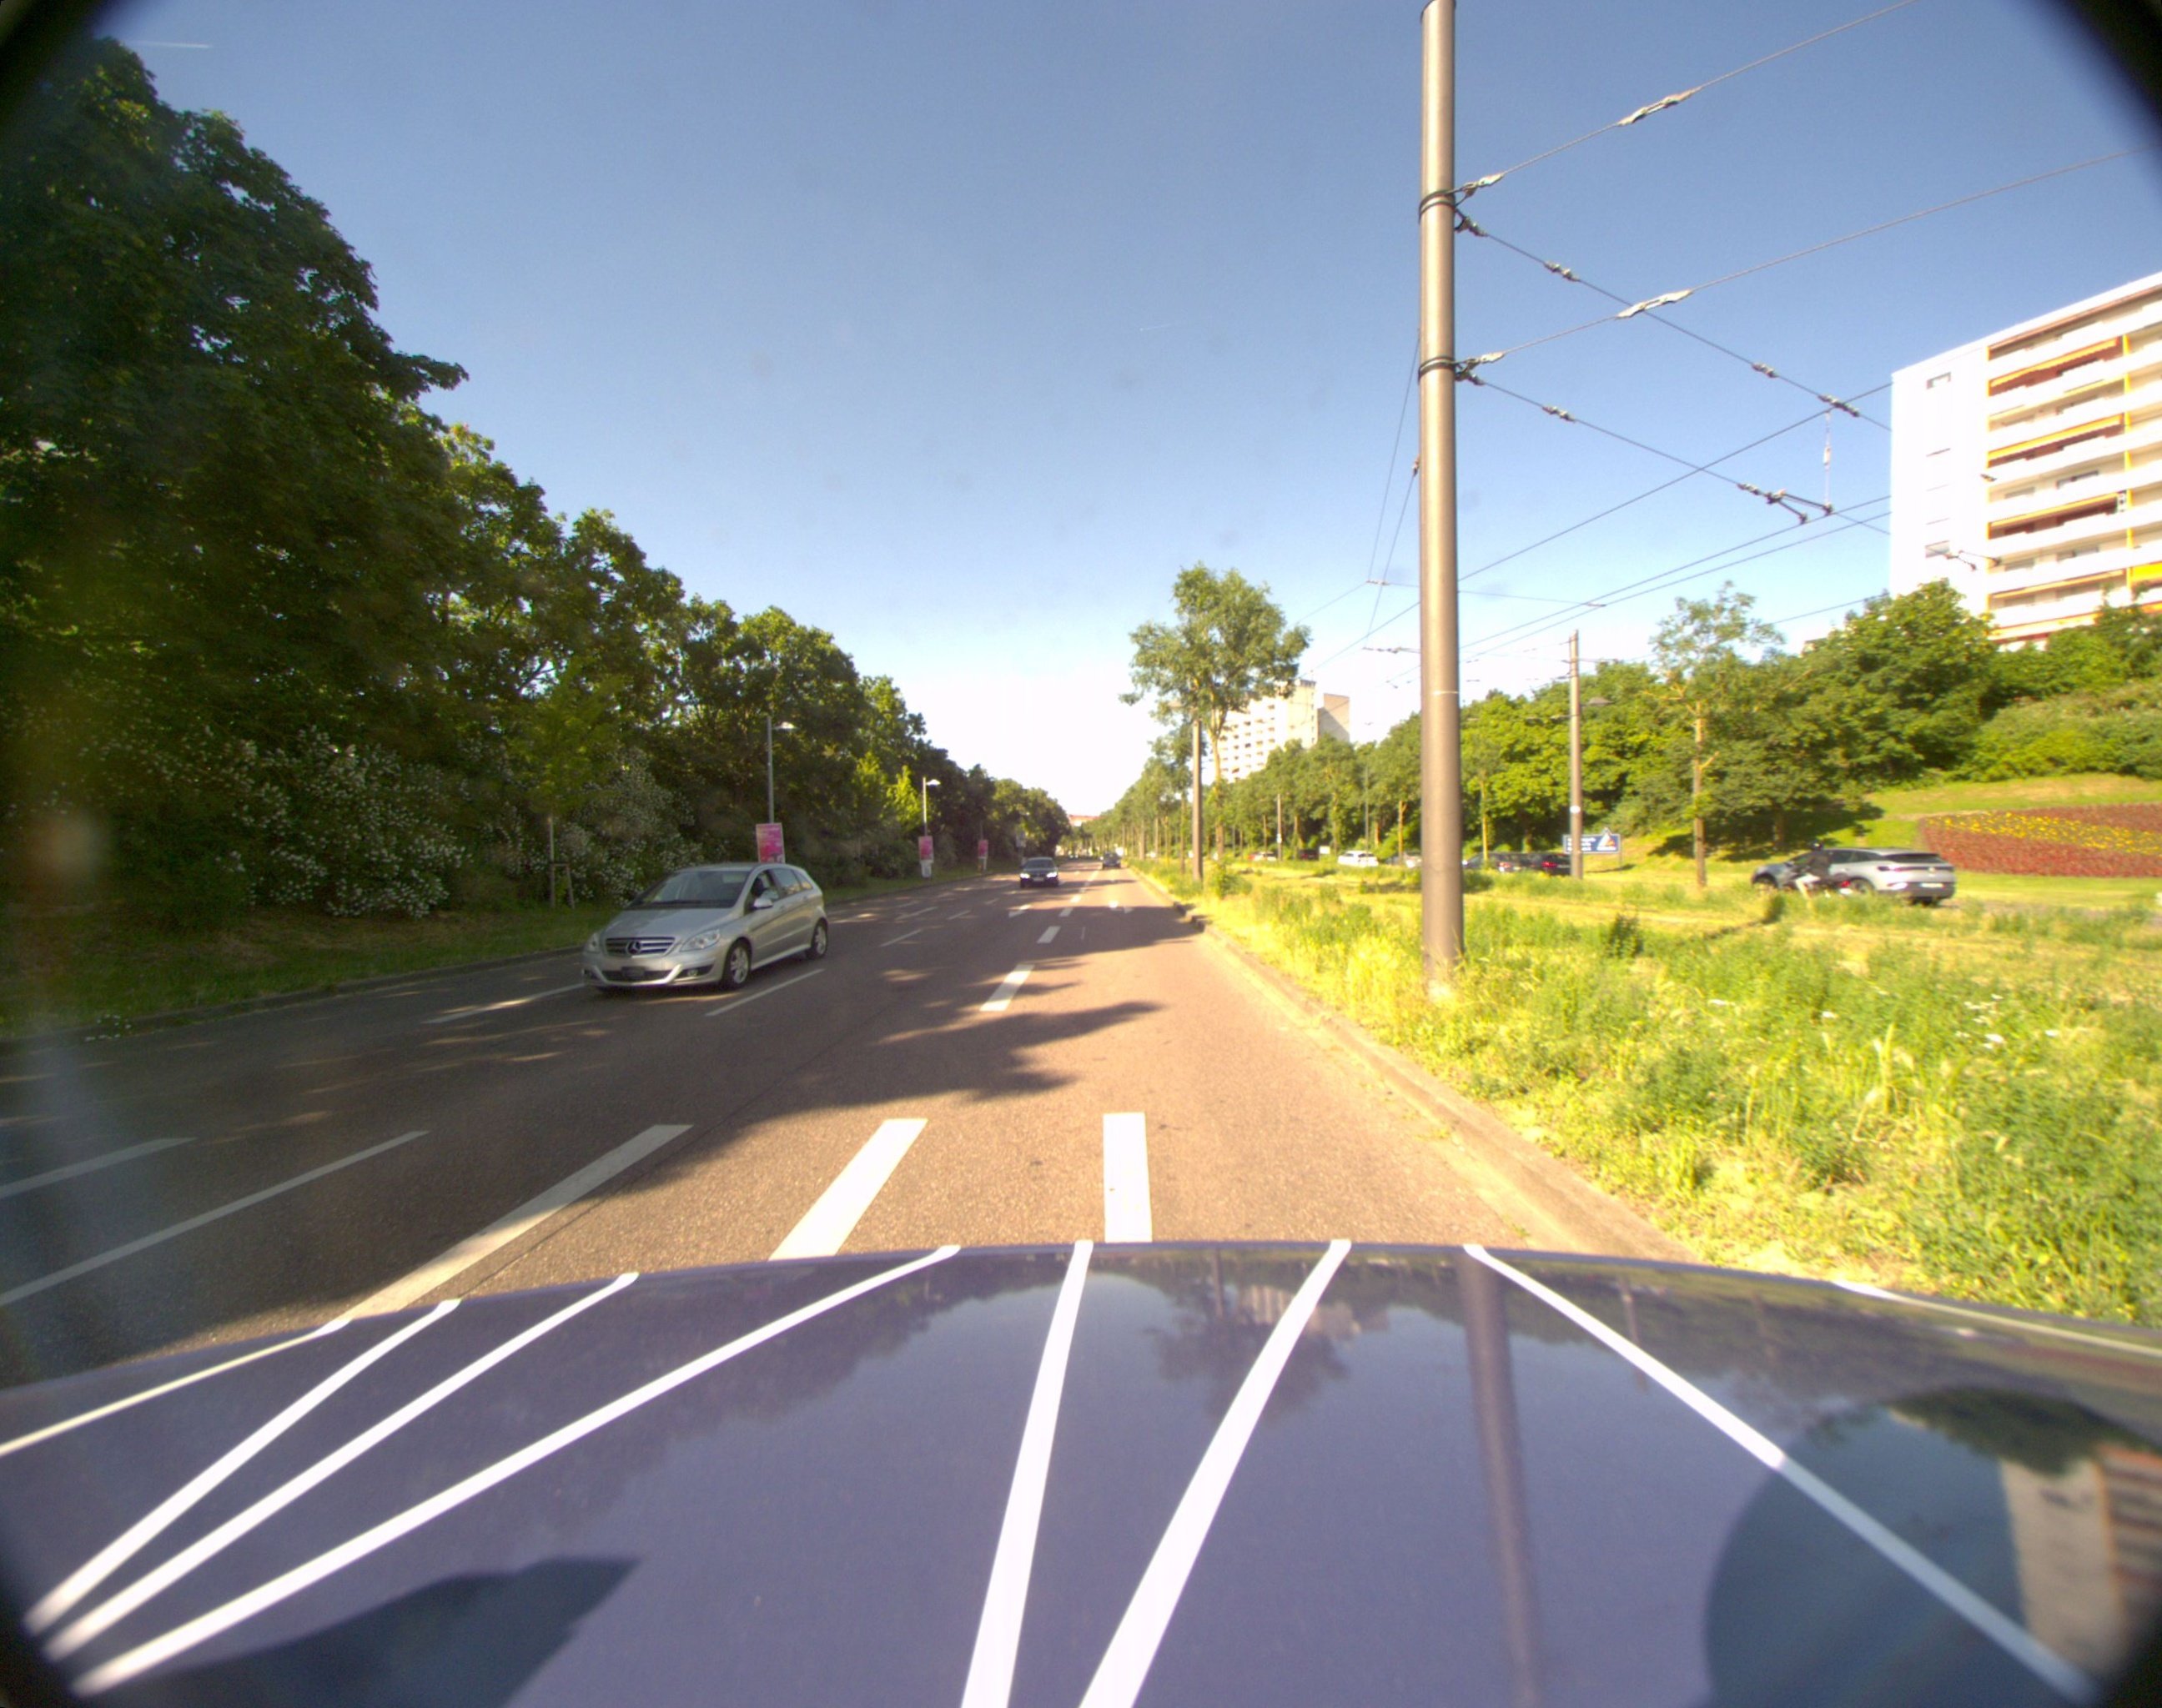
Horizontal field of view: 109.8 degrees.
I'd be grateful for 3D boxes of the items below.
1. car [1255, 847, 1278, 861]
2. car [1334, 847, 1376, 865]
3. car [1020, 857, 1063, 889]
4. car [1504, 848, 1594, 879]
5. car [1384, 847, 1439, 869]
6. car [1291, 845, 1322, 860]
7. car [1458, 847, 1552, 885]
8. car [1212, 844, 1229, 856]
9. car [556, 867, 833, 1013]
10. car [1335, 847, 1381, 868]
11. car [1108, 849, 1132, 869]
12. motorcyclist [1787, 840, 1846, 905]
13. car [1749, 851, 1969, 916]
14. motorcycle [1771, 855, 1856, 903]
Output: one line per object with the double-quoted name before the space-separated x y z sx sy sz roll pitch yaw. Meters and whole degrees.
"car" 19.660 -0.039 80.764 1.592 1.464 4.183 -1 0 3
"car" 23.366 0.133 64.915 1.998 1.424 4.693 0 1 2
"car" -1.943 0.917 38.313 1.831 1.401 4.216 -2 1 1
"car" 22.133 0.410 36.111 1.866 1.334 4.031 0 1 1
"car" 22.627 0.215 52.237 1.998 1.366 4.400 -2 1 3
"car" 23.013 -0.169 77.718 1.998 1.472 4.631 -2 1 2
"car" 18.894 0.490 34.118 1.998 1.585 4.465 0 1 4
"car" 19.271 -0.524 104.996 1.767 1.599 3.758 0 1 2
"car" -5.065 1.012 10.679 1.672 1.531 4.060 -2 0 2
"car" 19.381 0.233 53.384 1.707 1.414 4.643 -1 0 2
"car" 3.523 0.419 70.018 1.998 1.696 3.999 -2 1 1
"motorcyclist" 18.506 0.454 19.138 0.836 1.590 0.640 -2 1 9
"car" 21.545 0.733 21.365 1.842 1.592 4.438 -1 1 4
"motorcycle" 18.515 0.601 19.258 0.422 1.125 2.096 -2 1 9
